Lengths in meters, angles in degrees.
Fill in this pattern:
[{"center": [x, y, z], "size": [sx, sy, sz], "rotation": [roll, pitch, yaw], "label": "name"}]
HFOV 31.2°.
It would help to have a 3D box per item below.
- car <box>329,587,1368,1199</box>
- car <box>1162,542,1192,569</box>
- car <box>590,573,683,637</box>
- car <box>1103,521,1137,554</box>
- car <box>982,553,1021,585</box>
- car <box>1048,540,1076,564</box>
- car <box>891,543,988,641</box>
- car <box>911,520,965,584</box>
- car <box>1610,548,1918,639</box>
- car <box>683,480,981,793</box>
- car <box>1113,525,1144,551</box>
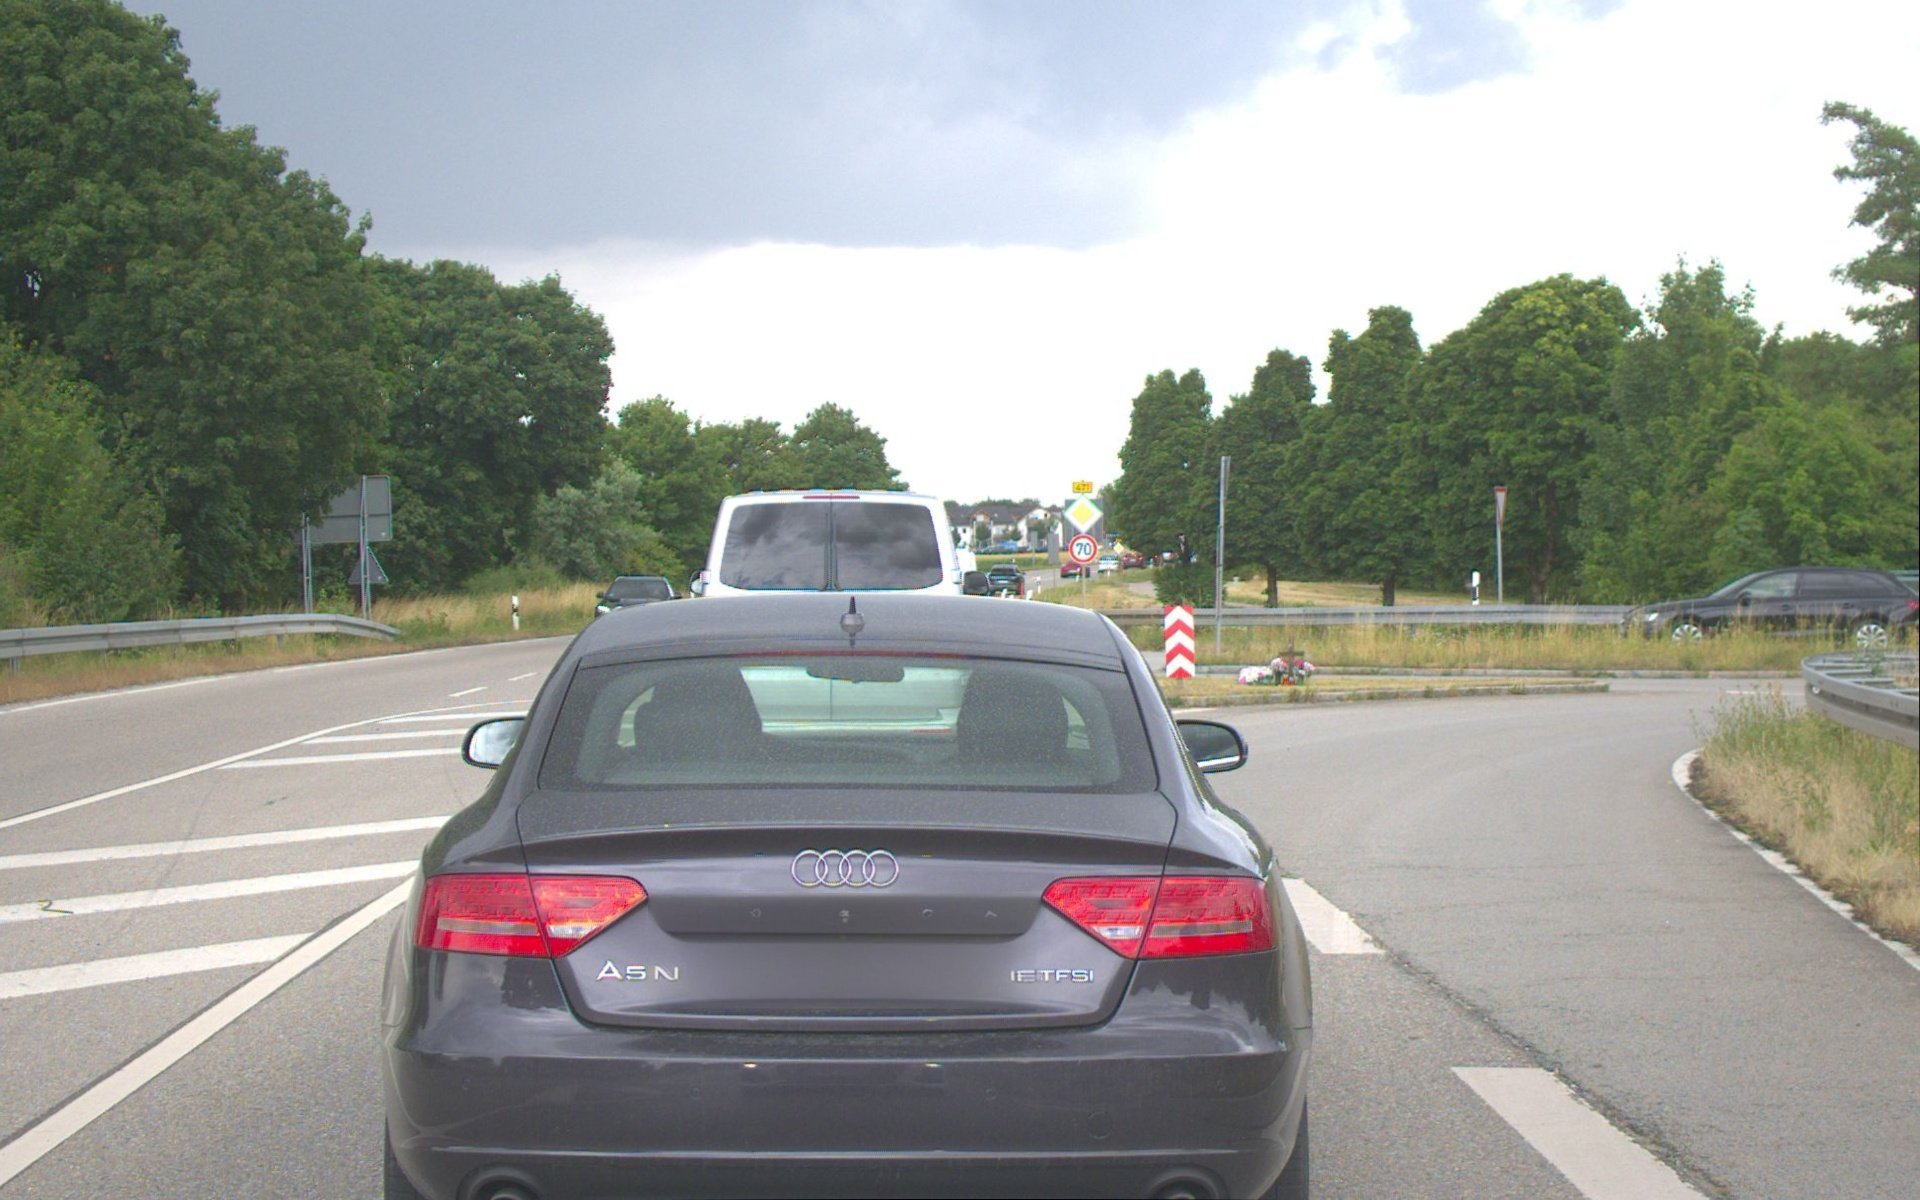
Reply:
[{"center": [-0.239, 0.690, 7.570], "size": [1.779, 1.394, 3.337], "rotation": [0, 1, -2], "label": "car"}, {"center": [14.357, -2.949, 227.312], "size": [1.876, 1.686, 4.000], "rotation": [1, 1, 5], "label": "car"}, {"center": [-7.519, 0.105, 80.217], "size": [1.798, 1.393, 3.483], "rotation": [1, 1, 1], "label": "car"}, {"center": [10.009, -3.928, 215.425], "size": [1.993, 2.007, 4.000], "rotation": [1, 1, 1], "label": "car"}, {"center": [2.293, -1.689, 186.927], "size": [1.994, 1.686, 4.000], "rotation": [1, 1, 2], "label": "car"}, {"center": [7.264, -3.442, 244.819], "size": [1.993, 1.686, 4.000], "rotation": [1, 1, 1], "label": "car"}, {"center": [-0.439, -0.202, 76.384], "size": [2.081, 2.057, 4.876], "rotation": [0, 1, 0], "label": "car"}, {"center": [-0.843, -1.859, 133.912], "size": [1.993, 2.400, 4.000], "rotation": [2, 1, 0], "label": "car"}, {"center": [12.519, -0.123, 53.481], "size": [4.568, 1.329, 1.700], "rotation": [1, 1, 16], "label": "car"}, {"center": [-0.878, 0.189, 24.213], "size": [1.910, 2.007, 4.001], "rotation": [0, 1, -1], "label": "car"}, {"center": [11.457, -4.222, 234.208], "size": [1.993, 1.686, 4.000], "rotation": [1, 1, 1], "label": "car"}]
